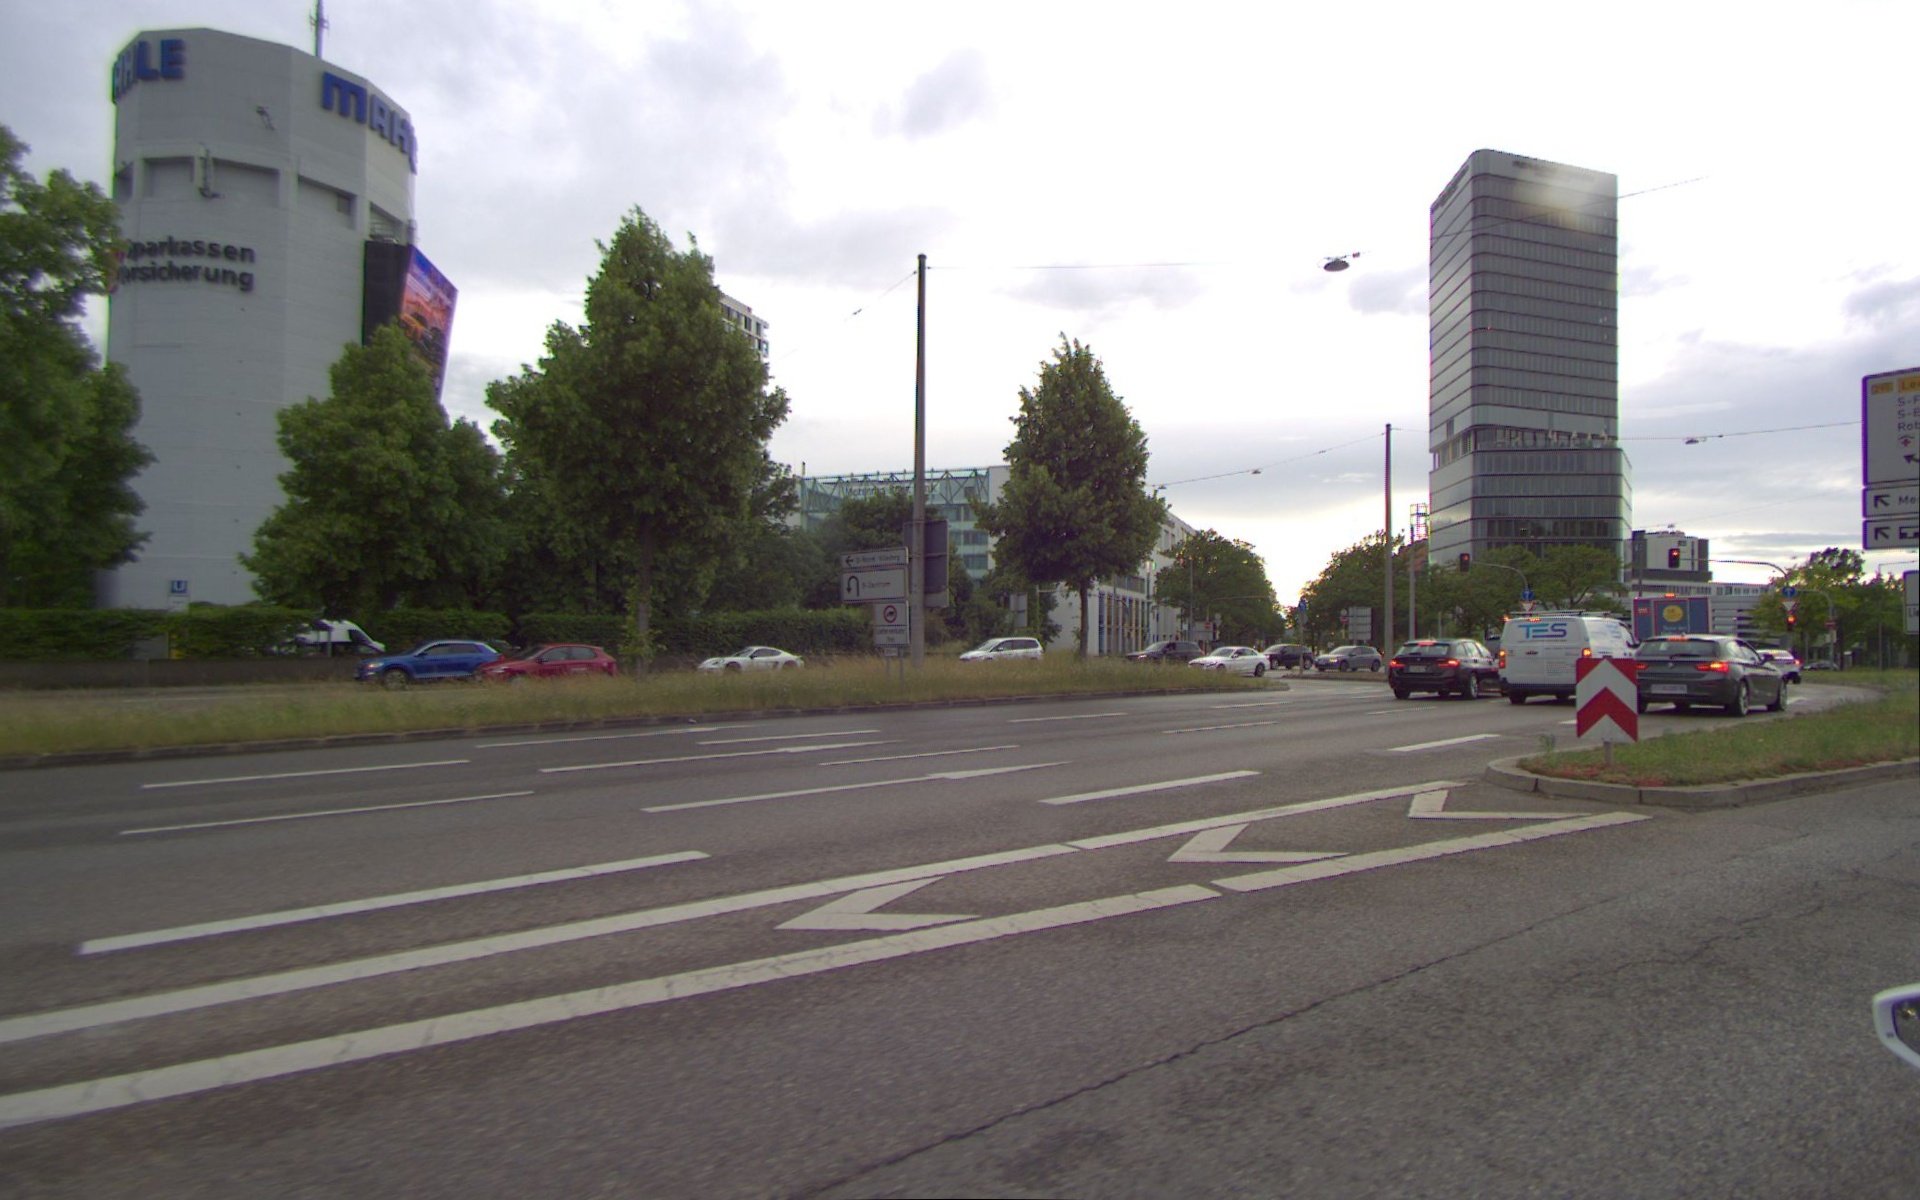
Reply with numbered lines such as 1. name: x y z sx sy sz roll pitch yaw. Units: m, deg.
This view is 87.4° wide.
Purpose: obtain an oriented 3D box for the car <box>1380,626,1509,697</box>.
1. car: 11.994 1.494 24.765 1.883 1.584 3.980 -3 -4 41

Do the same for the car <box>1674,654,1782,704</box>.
1. car: 36.946 3.779 48.436 3.931 2.041 1.884 0 2 32

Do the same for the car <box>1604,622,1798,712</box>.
1. car: 13.877 1.165 18.747 3.938 1.481 1.856 0 -1 -37

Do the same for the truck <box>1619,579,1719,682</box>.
1. truck: 24.895 1.029 35.209 2.632 3.262 6.524 0 -1 37

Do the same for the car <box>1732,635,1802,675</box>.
1. car: 35.558 2.436 44.355 1.892 1.665 4.382 0 -3 32

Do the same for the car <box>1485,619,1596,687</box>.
1. car: 17.019 1.469 29.375 1.819 1.704 4.046 3 2 45

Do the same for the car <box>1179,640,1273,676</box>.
1. car: 13.088 2.826 49.330 4.553 1.680 1.883 1 -1 -31

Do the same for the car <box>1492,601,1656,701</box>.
1. car: 13.862 1.128 22.541 5.057 1.998 1.886 2 -4 -44

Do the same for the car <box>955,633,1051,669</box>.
1. car: 2.213 2.580 51.437 4.695 1.693 1.981 1 -1 -34

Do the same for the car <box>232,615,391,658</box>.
1. car: -35.294 1.970 54.892 2.359 2.159 6.955 1 -1 45

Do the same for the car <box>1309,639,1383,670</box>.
1. car: 22.209 3.100 57.816 3.859 1.679 1.823 1 -1 -25

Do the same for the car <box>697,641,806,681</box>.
1. car: -8.204 2.387 39.740 3.949 1.410 1.647 1 -2 -40

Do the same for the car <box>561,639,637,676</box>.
1. car: -22.000 3.477 61.232 3.966 2.040 1.977 0 -1 -40

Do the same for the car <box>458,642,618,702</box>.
1. car: -12.360 2.045 29.564 1.889 1.552 3.975 -1 -2 44

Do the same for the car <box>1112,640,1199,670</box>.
1. car: 10.416 2.908 53.477 4.530 1.503 1.919 1 -1 -33

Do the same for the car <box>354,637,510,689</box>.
1. car: -16.306 1.895 31.107 3.954 1.461 1.859 1 -2 -44

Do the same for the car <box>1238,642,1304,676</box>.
1. car: 18.720 3.525 60.509 3.713 1.862 1.755 0 -1 -31
